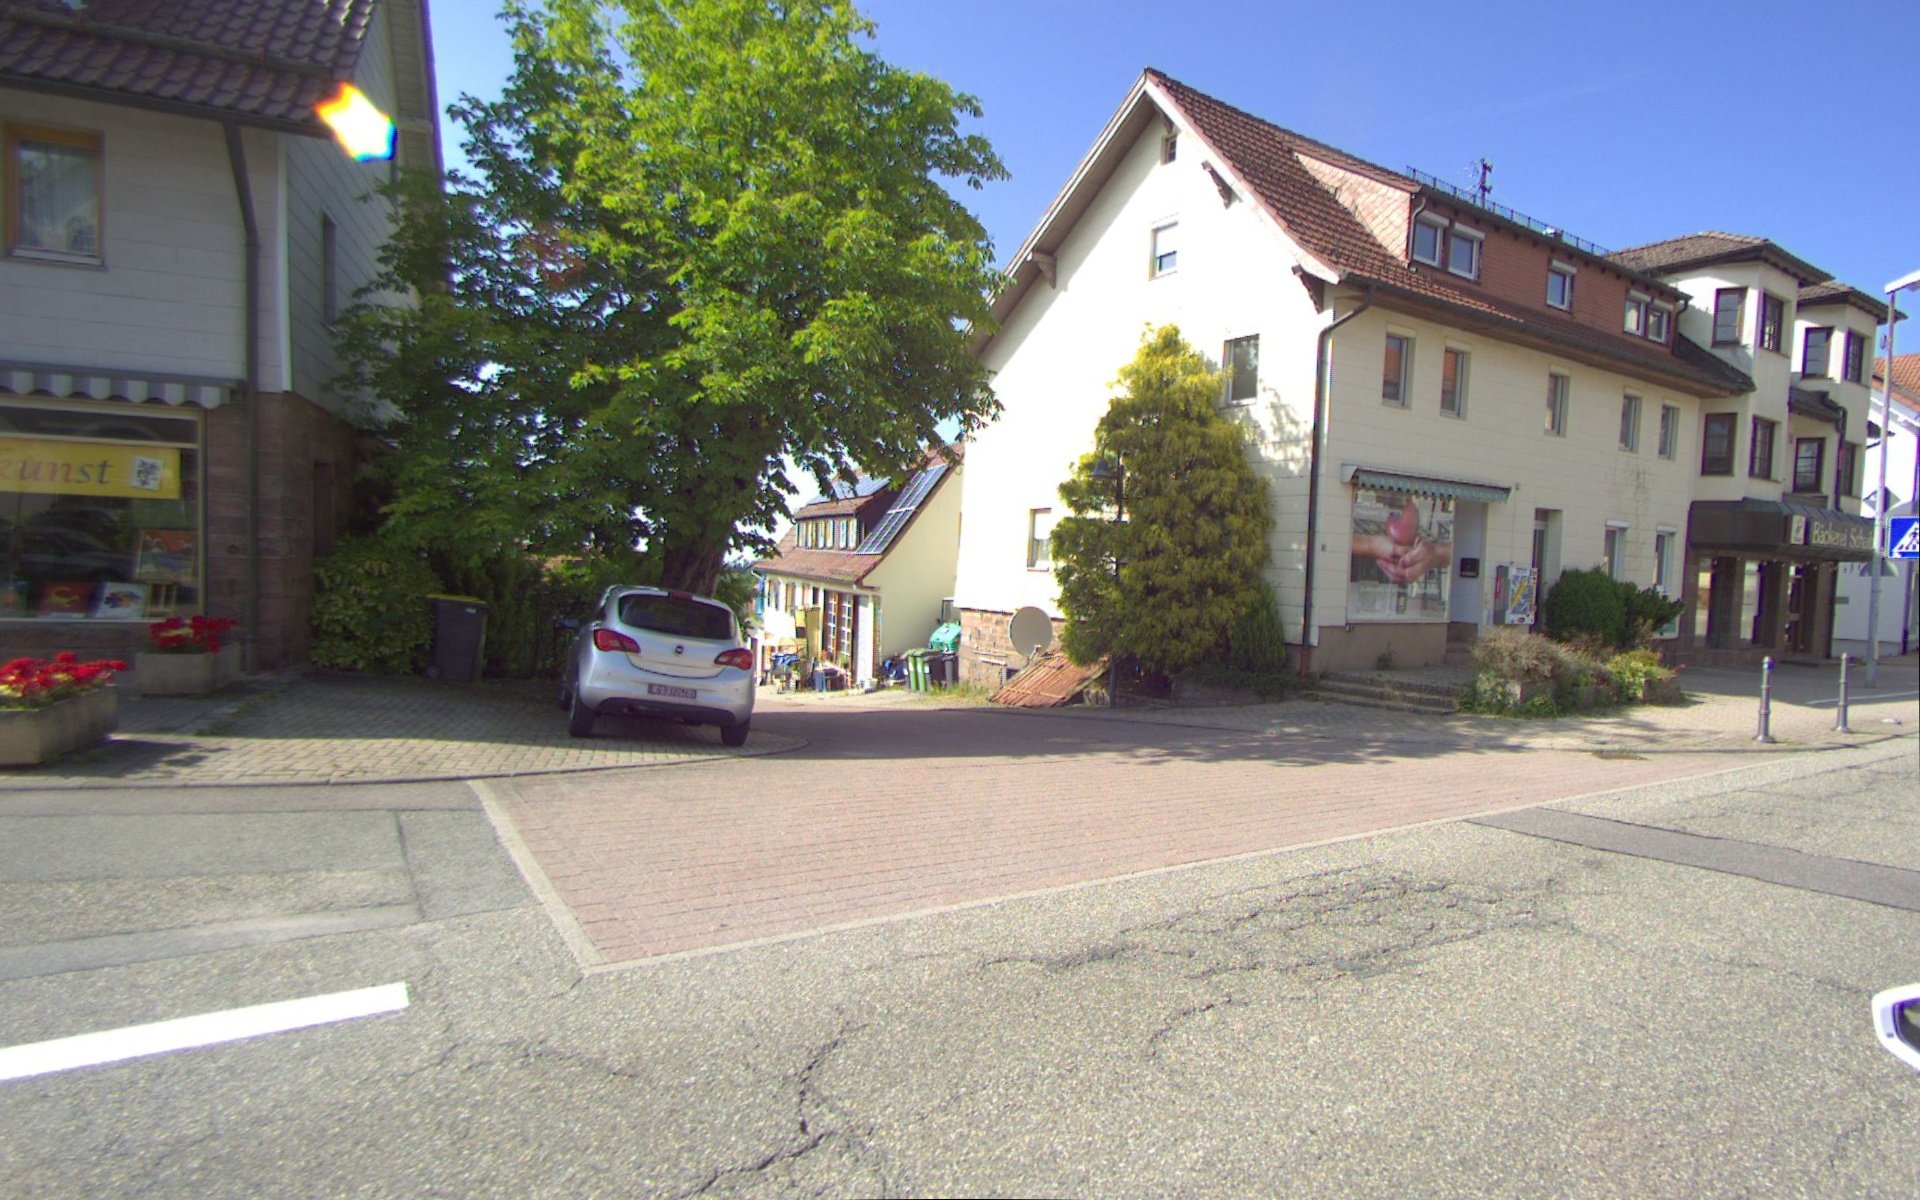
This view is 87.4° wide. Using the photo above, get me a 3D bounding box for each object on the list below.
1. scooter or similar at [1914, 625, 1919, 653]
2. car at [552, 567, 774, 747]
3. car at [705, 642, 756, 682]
[{"bbox_3d":[30.432,1.236,31.755,0.391,0.902,0.348,1,0,-39],"label":"scooter or similar"},{"bbox_3d":[-3.294,0.549,10.878,1.791,1.472,3.754,7,-2,-20],"label":"car"},{"bbox_3d":[-9.166,2.457,39.926,1.735,1.483,3.987,1,-3,-16],"label":"car"}]
